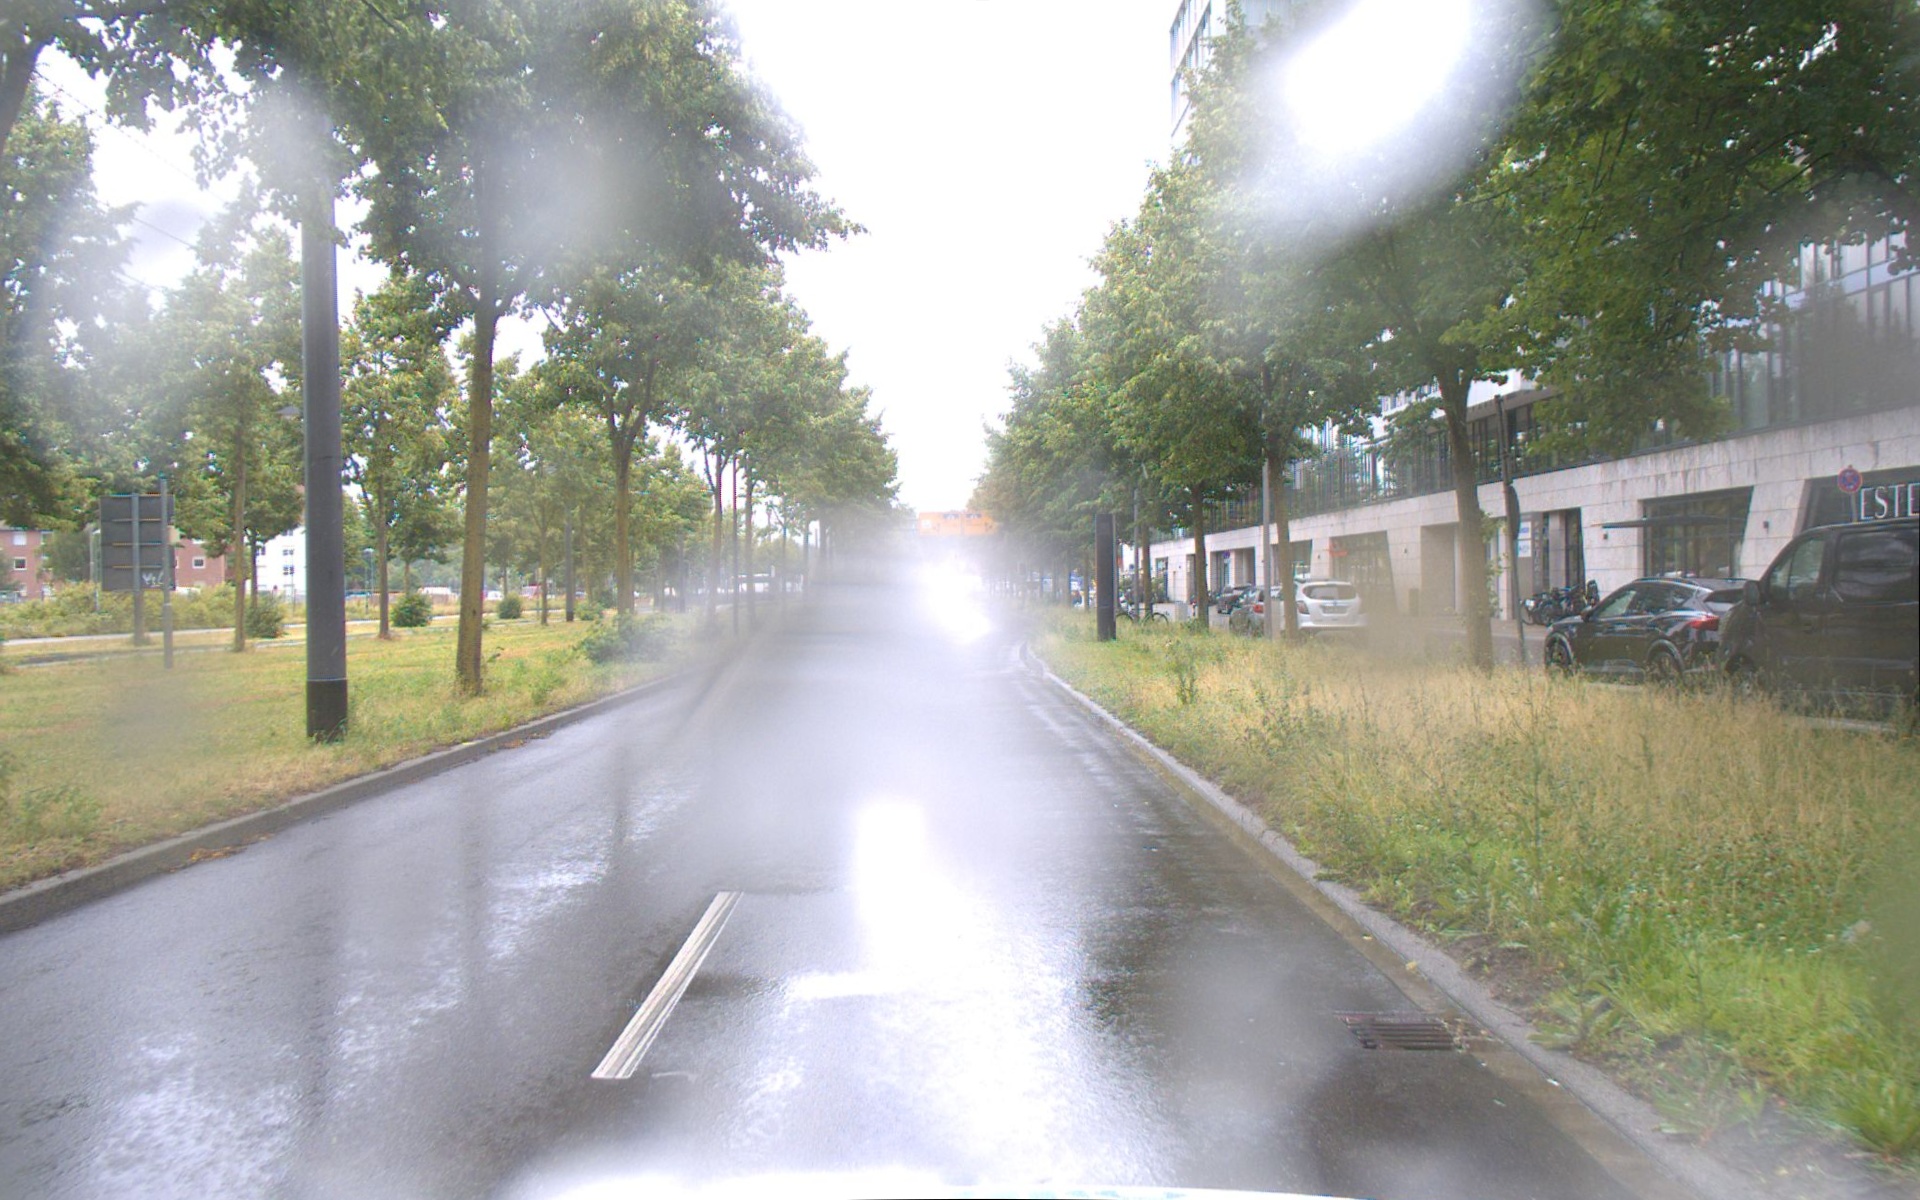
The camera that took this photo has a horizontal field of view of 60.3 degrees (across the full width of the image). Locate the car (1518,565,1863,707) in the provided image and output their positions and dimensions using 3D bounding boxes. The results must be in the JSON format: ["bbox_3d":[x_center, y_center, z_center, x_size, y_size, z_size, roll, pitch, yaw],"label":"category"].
[{"bbox_3d":[8.916,0.375,20.675,1.919,1.539,4.475,-1,1,-7],"label":"car"}]

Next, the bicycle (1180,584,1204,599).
[{"bbox_3d":[16.297,-0.619,116.171,1.659,1.046,0.423,-1,0,1],"label":"bicycle"}]

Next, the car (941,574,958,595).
[{"bbox_3d":[-1.168,-1.692,179.730,1.849,2.048,4.001,-1,3,-1],"label":"car"}]

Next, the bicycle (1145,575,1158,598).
[{"bbox_3d":[15.582,-1.111,134.649,0.631,1.752,3.120,-1,3,-1],"label":"bicycle"}]

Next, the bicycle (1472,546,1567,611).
[{"bbox_3d":[17.079,-0.655,50.510,2.623,1.893,0.707,-1,1,4],"label":"bicycle"}]

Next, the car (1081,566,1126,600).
[{"bbox_3d":[7.307,-0.907,84.633,1.843,1.532,4.724,-1,3,-1],"label":"car"}]

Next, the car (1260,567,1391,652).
[{"bbox_3d":[8.464,0.152,38.721,1.953,1.698,4.724,-1,3,-1],"label":"car"}]

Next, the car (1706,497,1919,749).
[{"bbox_3d":[8.520,0.110,14.162,1.953,1.986,5.030,-1,3,-1],"label":"car"}]

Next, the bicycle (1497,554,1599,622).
[{"bbox_3d":[16.851,-0.345,47.433,2.623,1.893,0.707,-1,1,4],"label":"bicycle"}]

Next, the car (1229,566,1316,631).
[{"bbox_3d":[8.199,-0.066,43.647,1.592,1.516,3.656,-1,3,0],"label":"car"}]

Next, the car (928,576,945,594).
[{"bbox_3d":[-2.857,-1.841,200.781,1.952,2.048,4.002,-1,3,1],"label":"car"}]

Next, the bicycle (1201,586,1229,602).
[{"bbox_3d":[16.868,-0.397,109.454,1.769,1.046,0.401,-1,0,1],"label":"bicycle"}]

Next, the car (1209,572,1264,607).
[{"bbox_3d":[14.310,-0.571,85.893,1.953,1.526,5.035,-6,2,1],"label":"car"}]

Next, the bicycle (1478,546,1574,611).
[{"bbox_3d":[17.023,-0.641,49.764,2.623,1.893,0.707,-1,1,4],"label":"bicycle"}]

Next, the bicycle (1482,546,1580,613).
[{"bbox_3d":[16.894,-0.605,48.980,2.623,1.893,0.707,-1,1,4],"label":"bicycle"}]

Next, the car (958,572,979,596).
[{"bbox_3d":[0.765,-1.469,151.793,1.901,2.048,4.001,-1,3,-1],"label":"car"}]

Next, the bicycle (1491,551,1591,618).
[{"bbox_3d":[16.918,-0.453,48.197,2.623,1.893,0.707,-1,1,4],"label":"bicycle"}]

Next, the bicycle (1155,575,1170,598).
[{"bbox_3d":[16.366,-1.087,133.910,0.756,1.752,3.120,-1,3,-1],"label":"bicycle"}]

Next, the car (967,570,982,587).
[{"bbox_3d":[1.892,-2.822,213.910,1.952,2.048,4.001,-1,3,0],"label":"car"}]

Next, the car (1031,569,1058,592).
[{"bbox_3d":[6.827,-1.592,133.612,1.867,1.822,4.687,-1,1,-1],"label":"car"}]

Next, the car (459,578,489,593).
[{"bbox_3d":[-63.492,-1.911,216.126,3.487,1.768,1.693,-2,3,-25],"label":"car"}]
